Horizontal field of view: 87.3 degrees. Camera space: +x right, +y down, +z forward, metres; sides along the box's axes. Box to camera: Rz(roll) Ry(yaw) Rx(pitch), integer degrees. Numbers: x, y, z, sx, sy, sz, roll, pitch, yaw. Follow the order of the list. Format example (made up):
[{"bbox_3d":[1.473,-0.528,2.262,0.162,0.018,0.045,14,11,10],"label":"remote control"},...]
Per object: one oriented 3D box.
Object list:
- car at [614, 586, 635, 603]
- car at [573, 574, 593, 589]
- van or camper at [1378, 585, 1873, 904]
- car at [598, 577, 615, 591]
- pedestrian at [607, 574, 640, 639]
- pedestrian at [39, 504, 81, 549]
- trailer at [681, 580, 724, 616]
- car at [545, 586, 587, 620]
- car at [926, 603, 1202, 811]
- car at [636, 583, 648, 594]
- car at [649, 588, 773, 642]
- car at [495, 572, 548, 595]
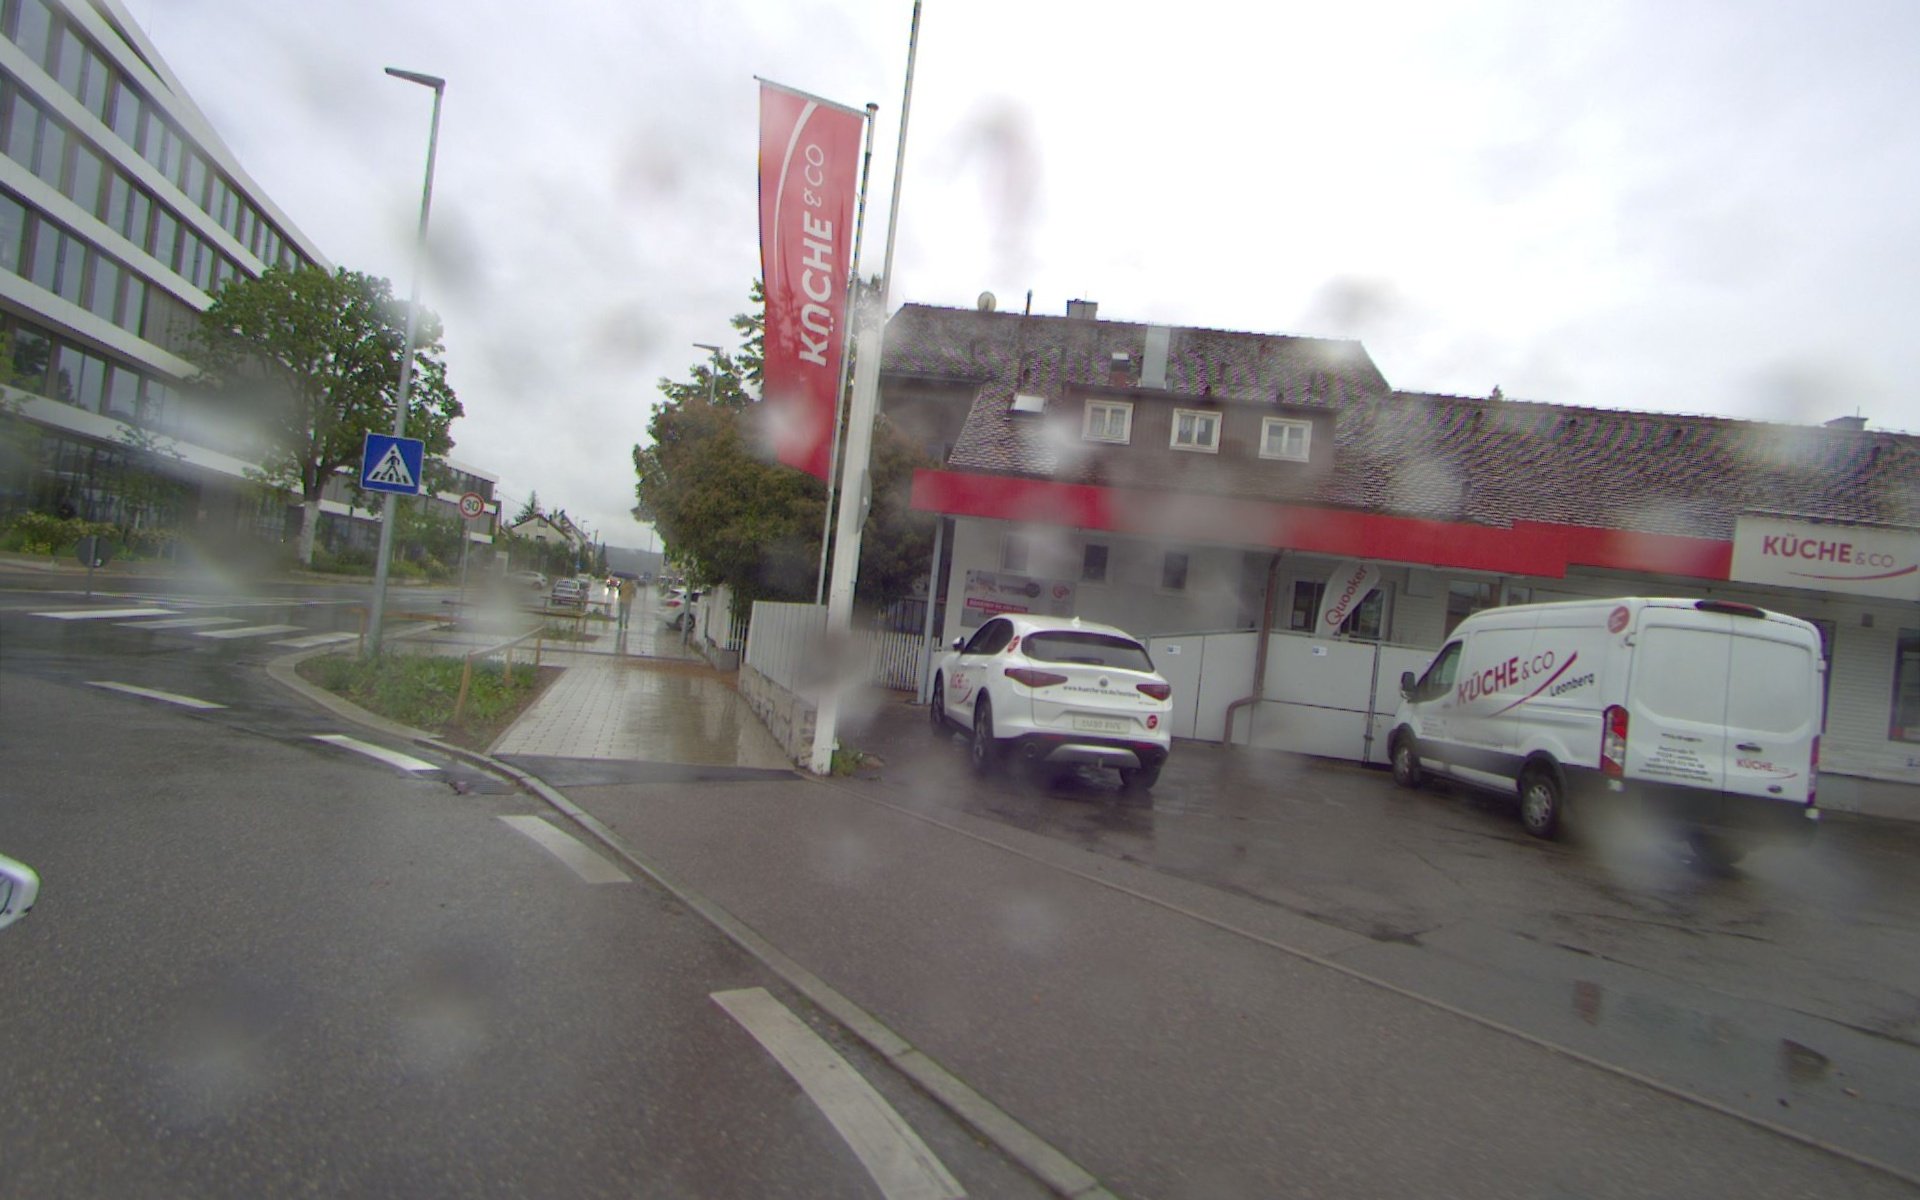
[{"bbox_3d":[-42.202,-0.673,126.725,2.131,1.723,3.990,11,-4,-16],"label":"car"},{"bbox_3d":[-49.822,-2.459,132.897,1.970,1.648,4.139,7,-1,-16],"label":"car"},{"bbox_3d":[6.984,1.347,11.552,2.090,2.571,5.266,7,-1,3],"label":"van or camper"},{"bbox_3d":[-54.796,-2.492,155.982,1.980,1.839,4.963,8,-2,-17],"label":"car"},{"bbox_3d":[-11.138,0.220,33.333,0.848,2.039,1.191,5,0,-18],"label":"pedestrian"},{"bbox_3d":[-39.070,-3.178,43.666,0.715,1.721,0.955,11,-3,-13],"label":"pedestrian"},{"bbox_3d":[-18.184,-0.147,71.077,2.669,2.197,1.544,8,-1,-15],"label":"trailer"},{"bbox_3d":[-23.270,0.196,59.505,1.929,1.571,3.987,12,-4,-19],"label":"car"},{"bbox_3d":[0.910,1.009,11.318,1.816,1.711,4.163,7,-1,-10],"label":"car"},{"bbox_3d":[-62.378,-2.247,197.253,1.972,1.723,3.990,11,-4,-16],"label":"car"},{"bbox_3d":[-9.450,0.590,38.186,4.097,1.600,1.985,6,-1,-31],"label":"car"},{"bbox_3d":[-38.884,-1.451,89.306,3.881,1.439,1.893,8,-1,-16],"label":"car"}]
